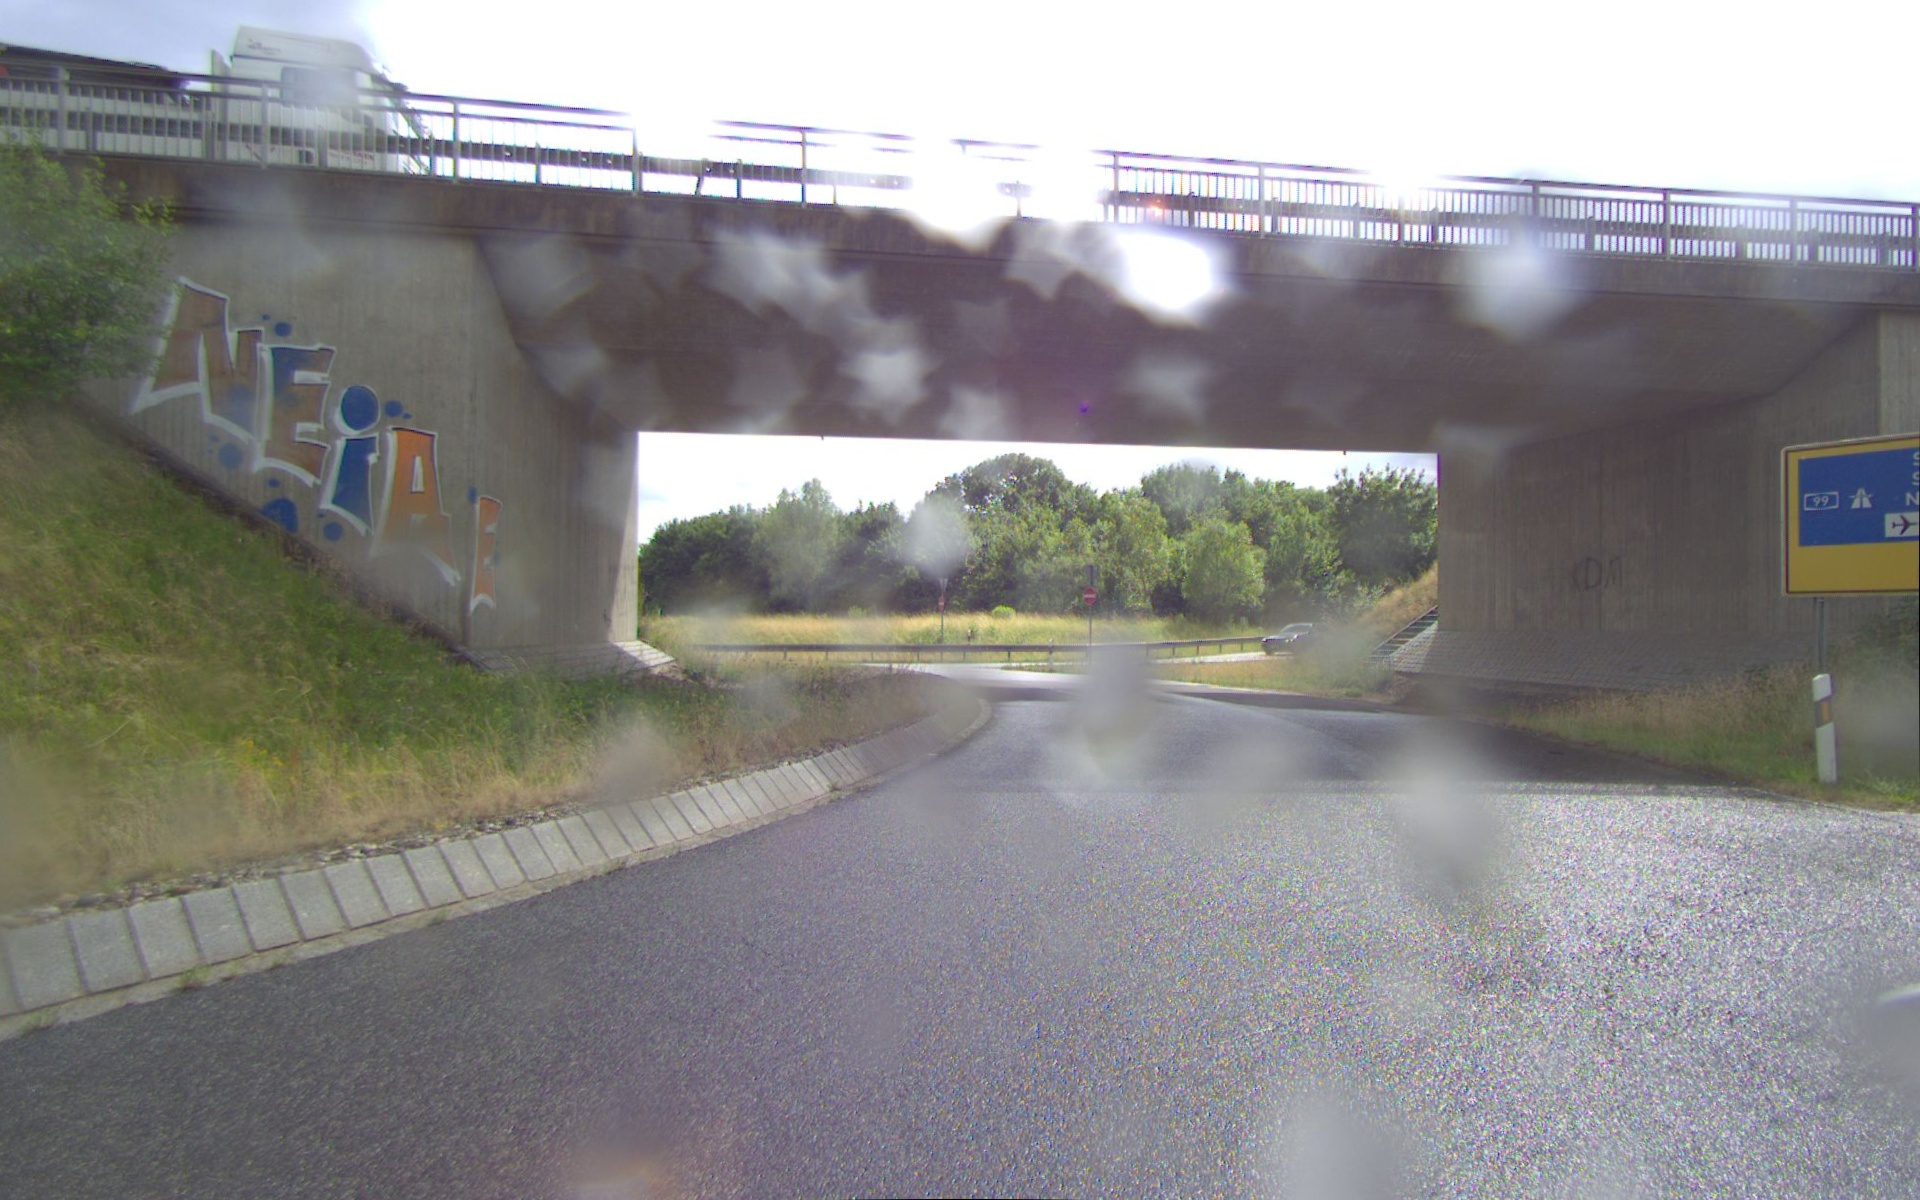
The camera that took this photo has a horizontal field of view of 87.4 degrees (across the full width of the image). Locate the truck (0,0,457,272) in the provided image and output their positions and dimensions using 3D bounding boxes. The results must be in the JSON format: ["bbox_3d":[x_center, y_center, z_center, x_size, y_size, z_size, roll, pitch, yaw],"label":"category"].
[{"bbox_3d":[-13.572,-7.155,14.918,10.636,2.912,2.202,1,0,-12],"label":"truck"}]
